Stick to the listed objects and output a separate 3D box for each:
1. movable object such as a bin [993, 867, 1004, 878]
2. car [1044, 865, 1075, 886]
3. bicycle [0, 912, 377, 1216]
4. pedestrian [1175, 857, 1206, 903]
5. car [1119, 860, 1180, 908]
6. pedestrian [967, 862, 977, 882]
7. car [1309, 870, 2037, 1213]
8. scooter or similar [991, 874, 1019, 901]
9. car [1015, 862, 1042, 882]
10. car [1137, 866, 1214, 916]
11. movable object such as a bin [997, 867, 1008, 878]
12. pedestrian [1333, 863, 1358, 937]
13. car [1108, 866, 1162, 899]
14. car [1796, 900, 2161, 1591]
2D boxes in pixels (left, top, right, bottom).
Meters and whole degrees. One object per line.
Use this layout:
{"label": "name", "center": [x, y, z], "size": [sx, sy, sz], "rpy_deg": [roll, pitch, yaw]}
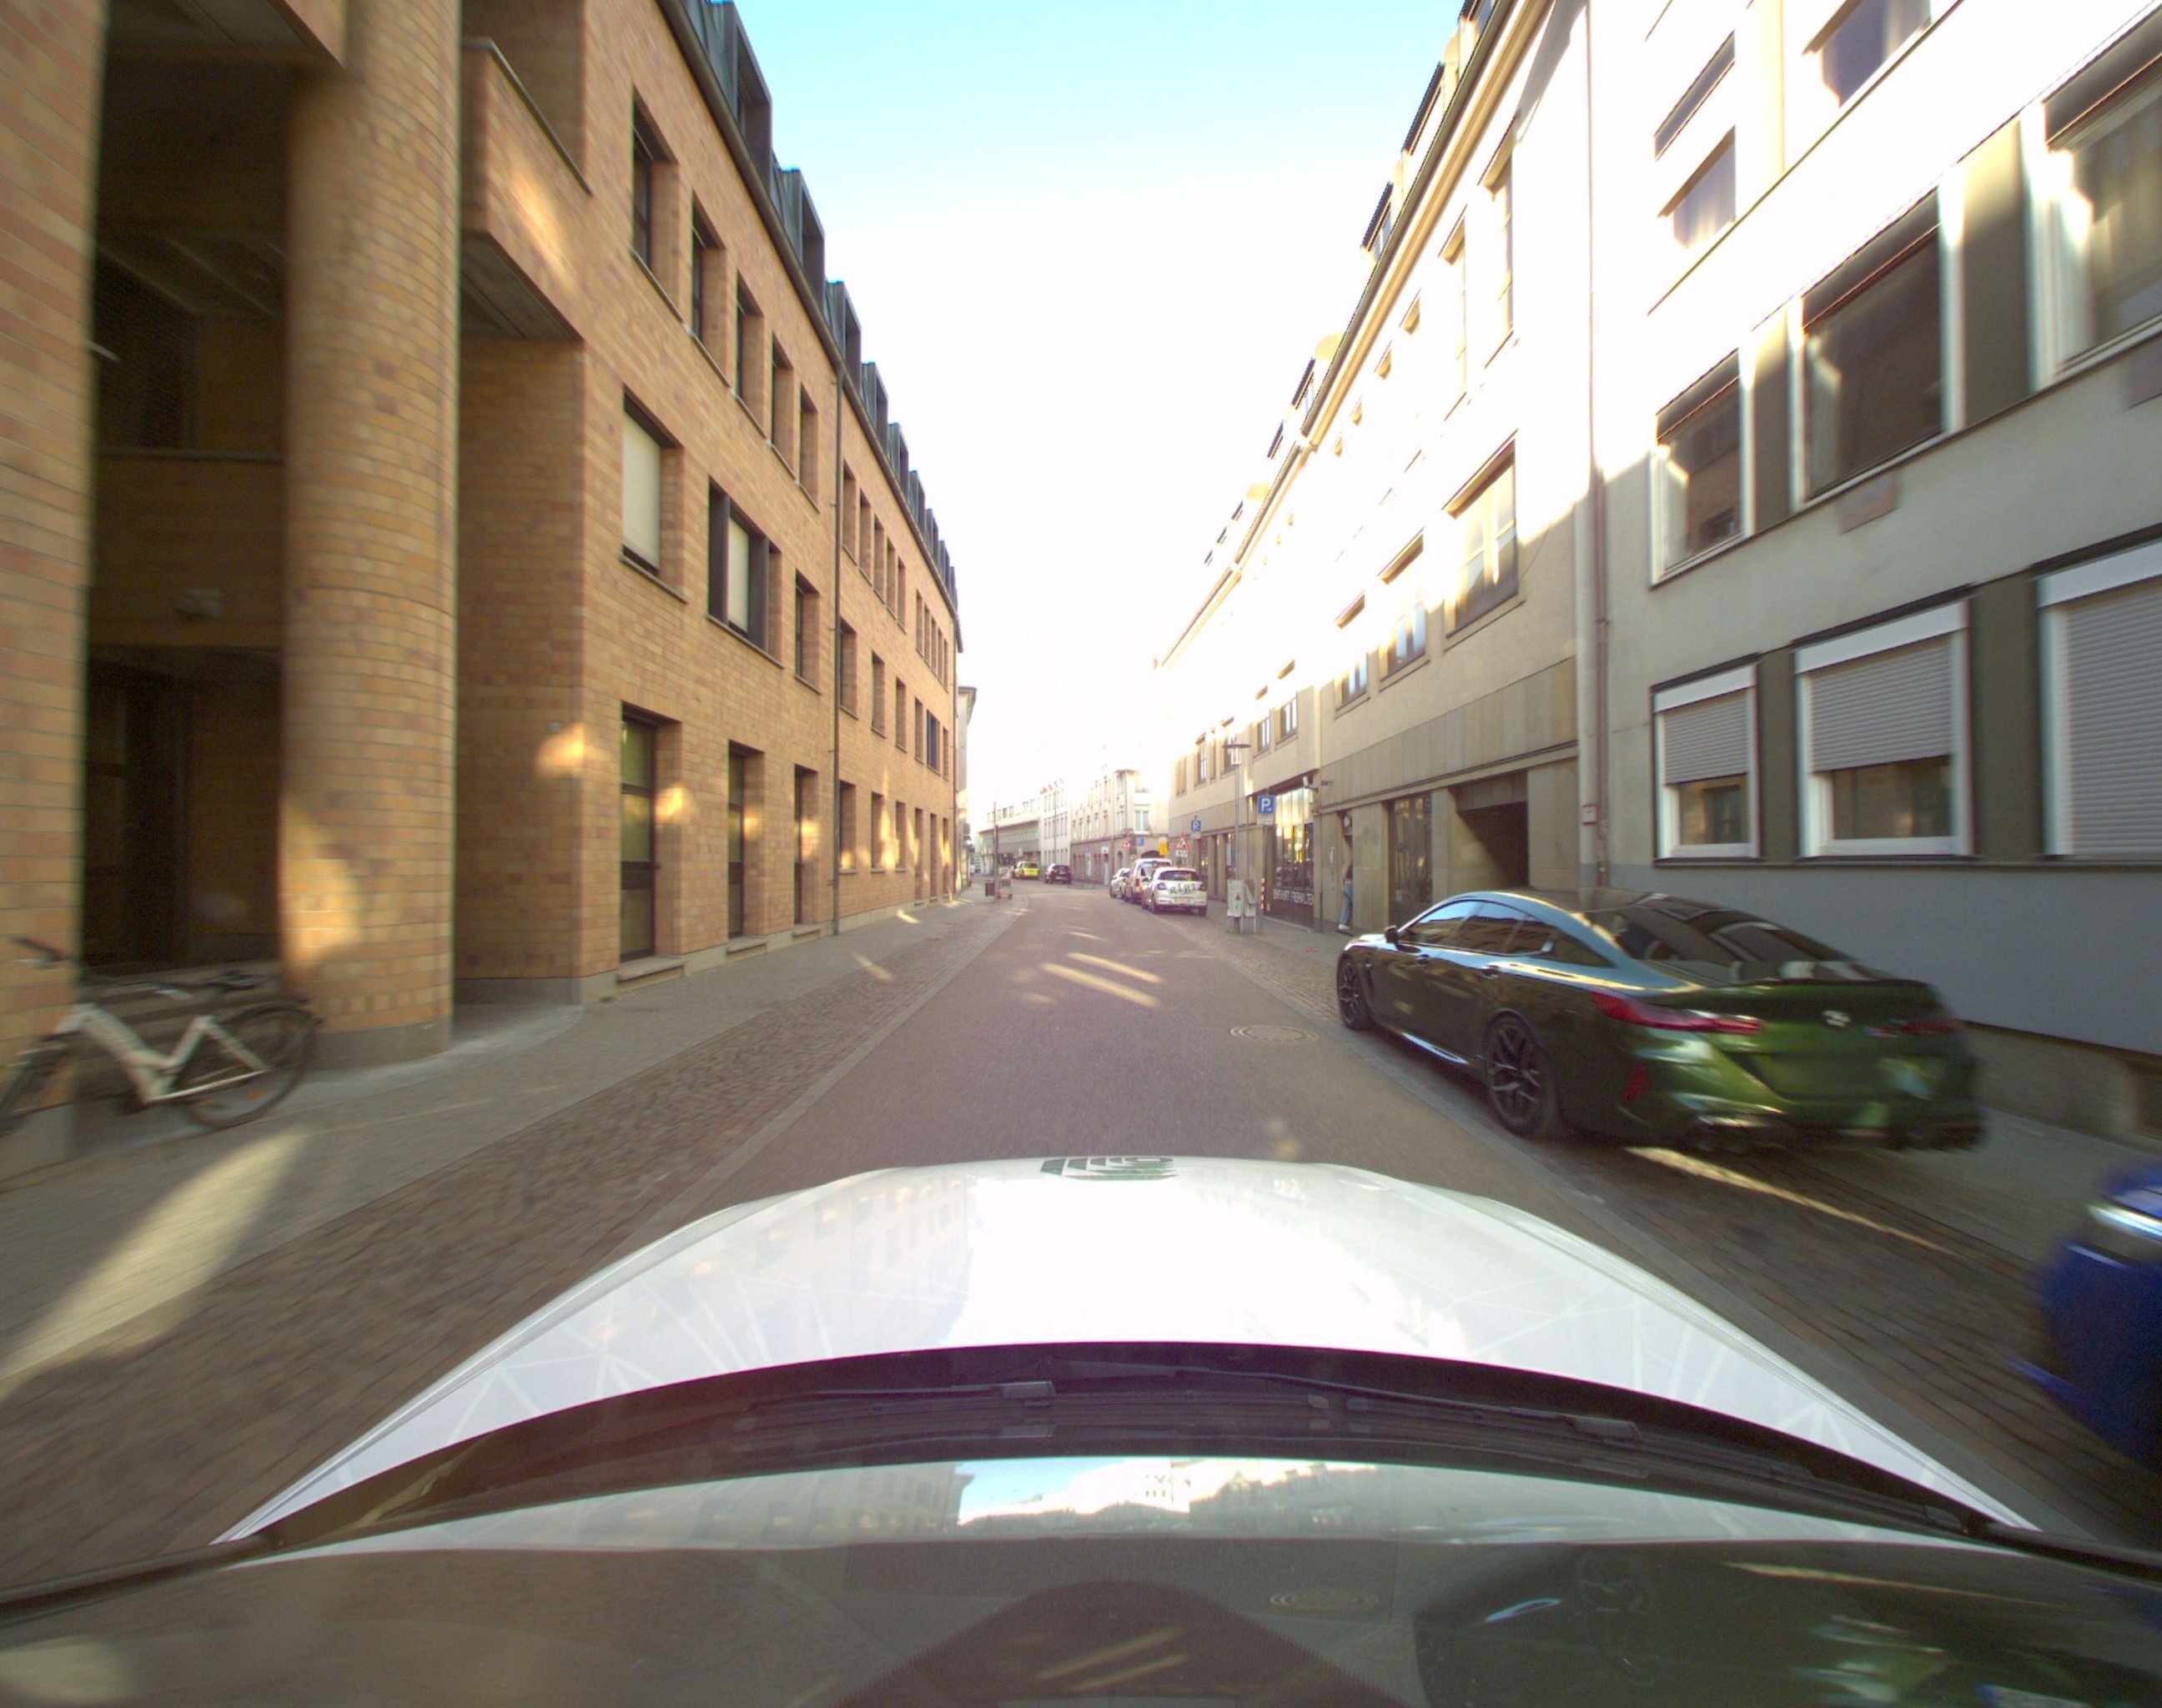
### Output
{"label": "movable object such as a bin", "center": [-11.230, 2.521, 111.065], "size": [1.135, 1.480, 1.728], "rpy_deg": [1, -1, -19]}
{"label": "car", "center": [-1.890, 1.769, 69.332], "size": [1.968, 1.692, 4.086], "rpy_deg": [2, -1, -11]}
{"label": "bicycle", "center": [-4.821, 0.966, 4.364], "size": [0.630, 1.162, 1.799], "rpy_deg": [3, -1, -7]}
{"label": "pedestrian", "center": [4.432, 1.055, 33.007], "size": [1.040, 1.801, 1.197], "rpy_deg": [0, -2, -3]}
{"label": "car", "center": [2.742, 1.193, 33.645], "size": [1.826, 1.791, 5.207], "rpy_deg": [1, -1, -3]}
{"label": "pedestrian", "center": [-9.364, 1.550, 70.152], "size": [0.767, 1.725, 0.683], "rpy_deg": [1, -1, -17]}
{"label": "car", "center": [3.384, 0.888, 6.254], "size": [1.887, 1.453, 5.226], "rpy_deg": [1, -1, 1]}
{"label": "scooter or similar", "center": [-3.477, 1.544, 37.511], "size": [0.691, 1.217, 1.365], "rpy_deg": [-1, -1, 24]}
{"label": "car", "center": [-5.553, 1.893, 85.495], "size": [2.056, 2.014, 4.153], "rpy_deg": [0, -1, -15]}
{"label": "car", "center": [3.095, 1.184, 27.355], "size": [1.836, 1.478, 4.162], "rpy_deg": [2, -1, -3]}
{"label": "movable object such as a bin", "center": [-10.559, 2.472, 109.406], "size": [1.135, 1.558, 1.728], "rpy_deg": [1, -1, -19]}
{"label": "pedestrian", "center": [6.017, 1.026, 18.532], "size": [0.477, 1.654, 0.540], "rpy_deg": [-1, -1, 13]}
{"label": "car", "center": [2.558, 1.346, 39.587], "size": [1.887, 1.518, 4.051], "rpy_deg": [1, -1, -8]}
{"label": "car", "center": [3.176, 0.854, 0.220], "size": [1.801, 1.413, 4.790], "rpy_deg": [2, -1, 1]}
